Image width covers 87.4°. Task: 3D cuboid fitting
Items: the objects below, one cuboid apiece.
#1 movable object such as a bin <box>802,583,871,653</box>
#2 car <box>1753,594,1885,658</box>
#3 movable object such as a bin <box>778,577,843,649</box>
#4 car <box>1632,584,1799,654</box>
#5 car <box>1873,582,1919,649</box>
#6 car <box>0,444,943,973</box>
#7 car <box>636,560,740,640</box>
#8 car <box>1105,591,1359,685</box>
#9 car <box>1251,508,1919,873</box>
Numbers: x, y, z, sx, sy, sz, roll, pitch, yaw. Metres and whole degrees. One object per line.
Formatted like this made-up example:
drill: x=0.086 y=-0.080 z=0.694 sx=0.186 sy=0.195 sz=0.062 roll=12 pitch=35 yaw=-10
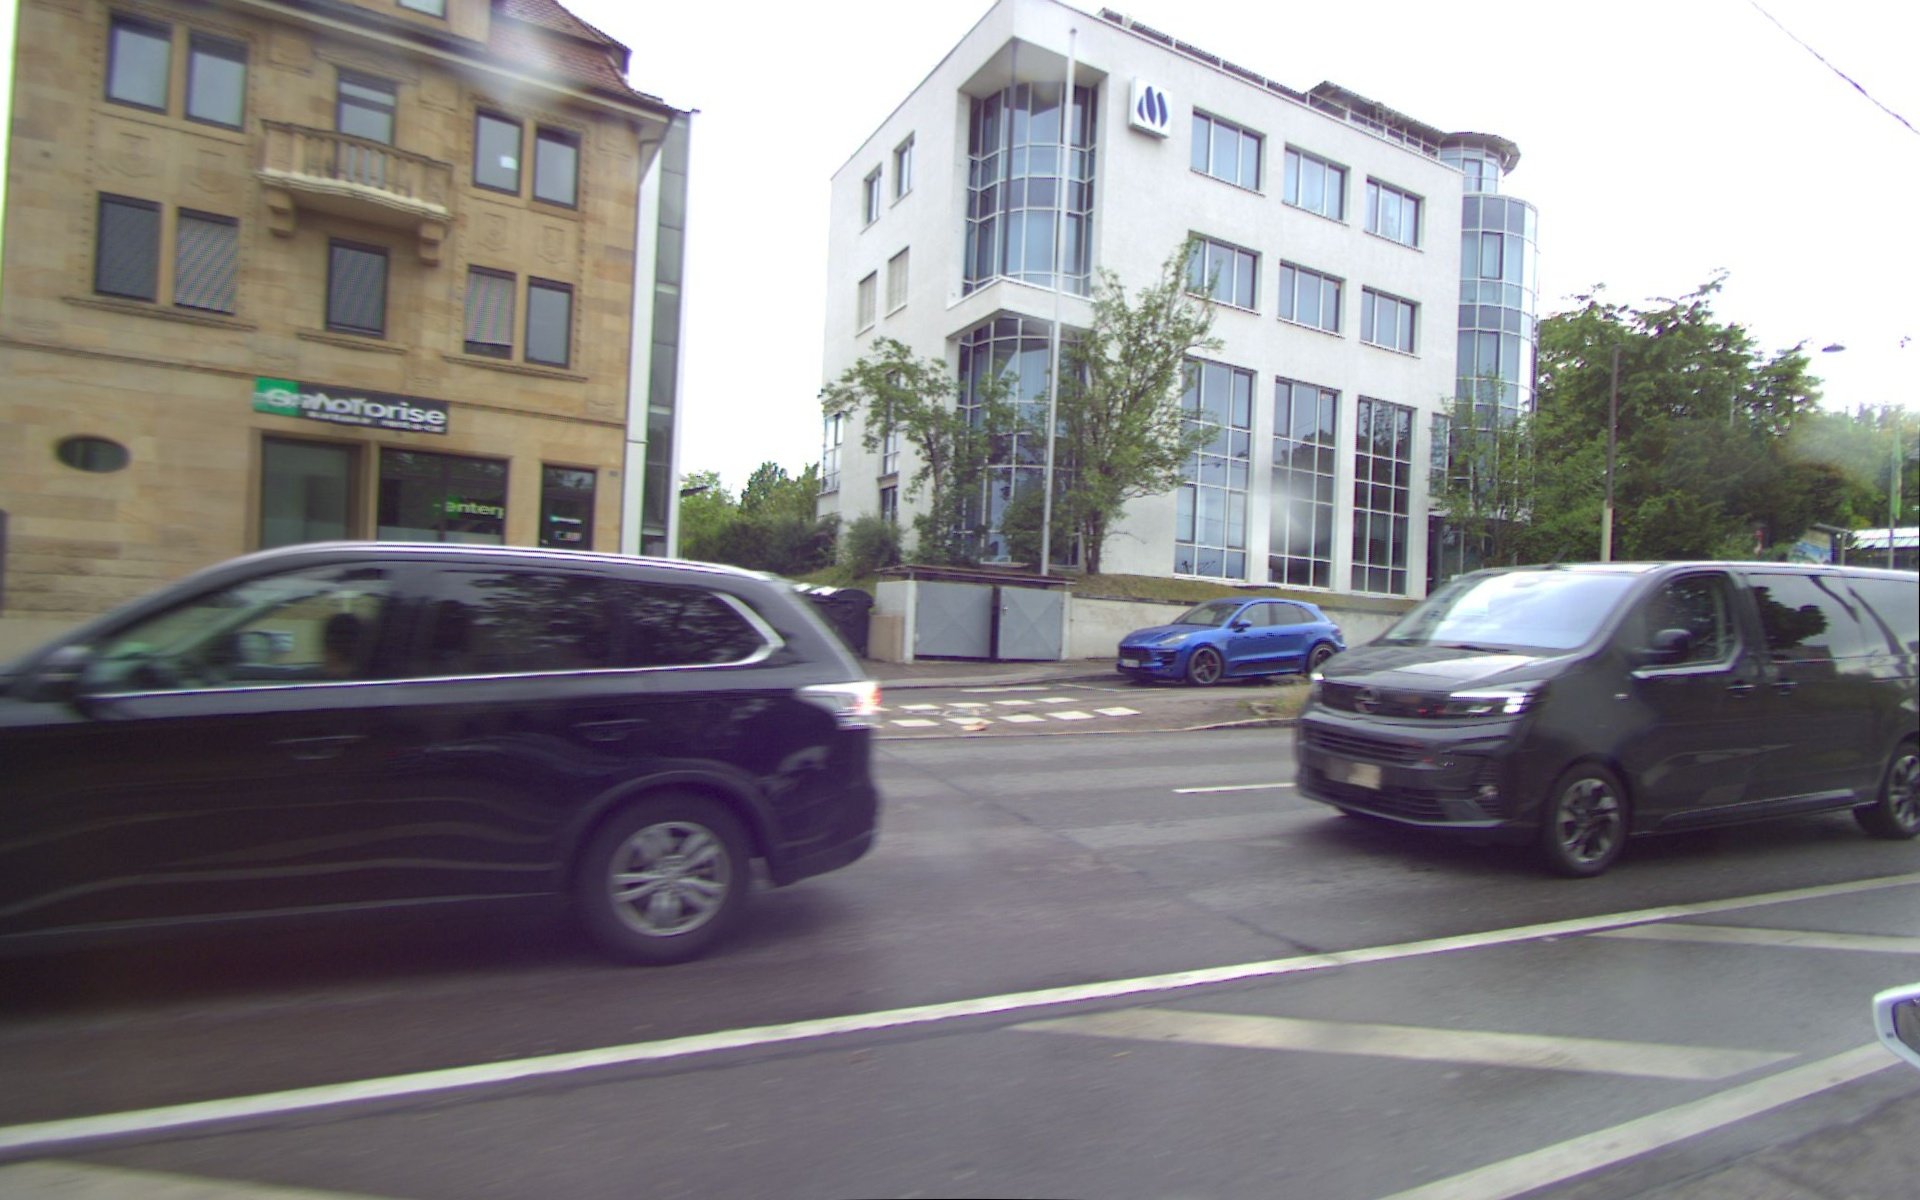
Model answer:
movable object such as a bin: x=-2.609 y=0.364 z=21.186 sx=1.084 sy=1.425 sz=1.181 roll=1 pitch=1 yaw=-28
car: x=24.731 y=0.727 z=28.907 sx=3.731 sy=1.718 sz=1.586 roll=0 pitch=-1 yaw=-26
movable object such as a bin: x=-3.378 y=0.284 z=22.688 sx=1.028 sy=1.561 sz=1.238 roll=3 pitch=0 yaw=-29
car: x=20.313 y=0.501 z=26.974 sx=4.523 sy=1.769 sz=1.765 roll=0 pitch=-1 yaw=-26
car: x=23.437 y=0.356 z=23.418 sx=4.383 sy=1.498 sz=1.642 roll=0 pitch=-1 yaw=-25
car: x=-2.568 y=0.388 z=4.190 sx=4.664 sy=1.625 sz=1.684 roll=4 pitch=-2 yaw=-24
car: x=-6.516 y=0.015 z=23.873 sx=1.695 sy=1.697 sz=3.030 roll=4 pitch=-2 yaw=-28
car: x=5.063 y=0.656 z=18.564 sx=4.610 sy=1.555 sz=1.682 roll=0 pitch=-1 yaw=-27
car: x=4.715 y=0.529 z=7.149 sx=4.971 sy=1.891 sz=2.010 roll=1 pitch=-1 yaw=-24
